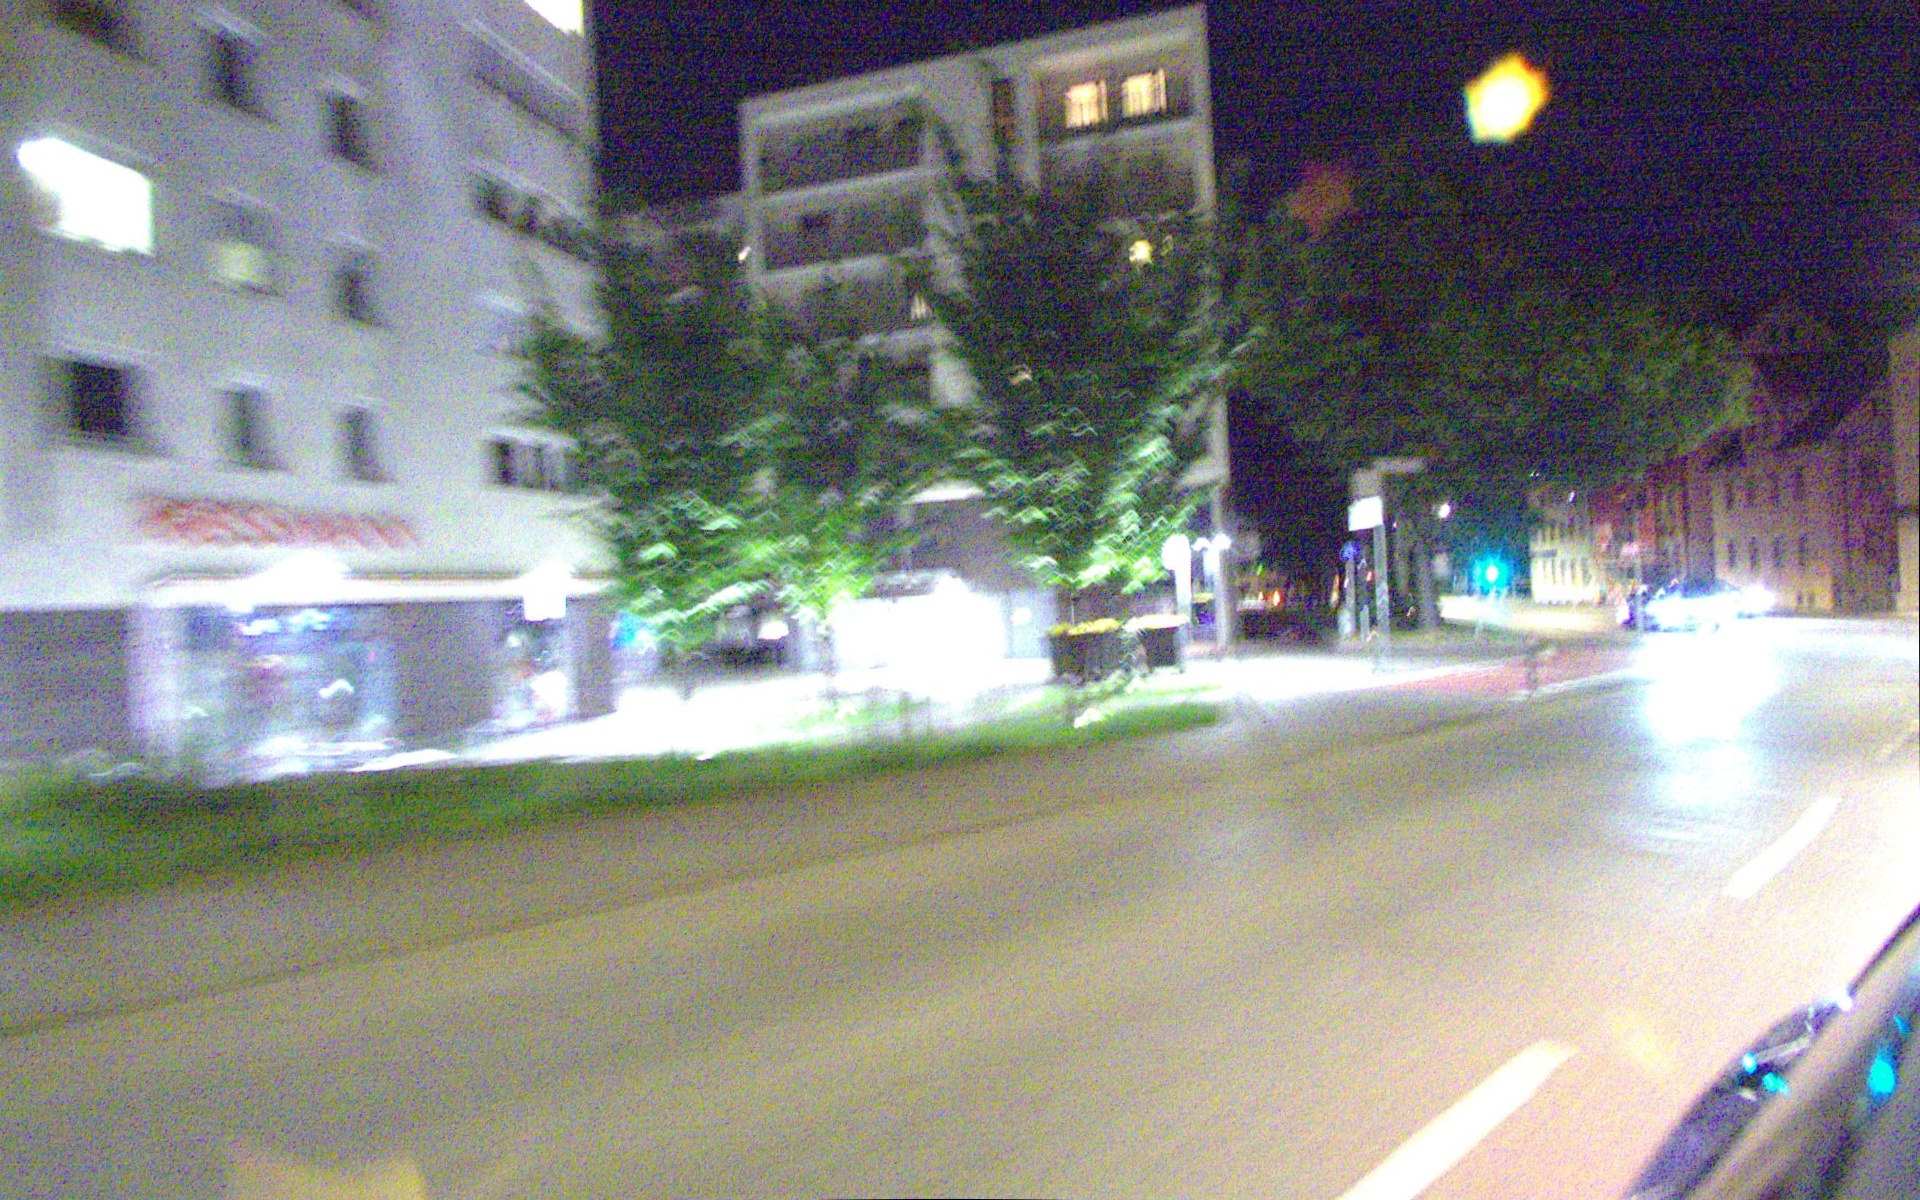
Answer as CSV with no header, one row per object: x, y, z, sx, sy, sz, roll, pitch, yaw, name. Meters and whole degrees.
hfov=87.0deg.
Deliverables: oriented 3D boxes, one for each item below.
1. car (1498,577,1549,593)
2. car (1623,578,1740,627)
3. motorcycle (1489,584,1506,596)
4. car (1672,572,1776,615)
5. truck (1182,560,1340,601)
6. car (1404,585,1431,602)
64.228,-1.692,115.428,4.607,1.649,1.995,-2,1,15,car
24.065,0.045,33.944,1.706,1.448,4.476,-3,0,16,car
54.484,-0.984,102.669,0.562,1.194,2.032,-2,0,-1,motorcycle
28.600,-0.284,38.018,1.705,1.481,3.982,-2,1,15,car
33.469,-2.155,113.124,16.598,4.034,3.116,-2,1,17,truck
37.695,-0.557,83.429,1.599,1.282,3.605,-3,0,19,car
